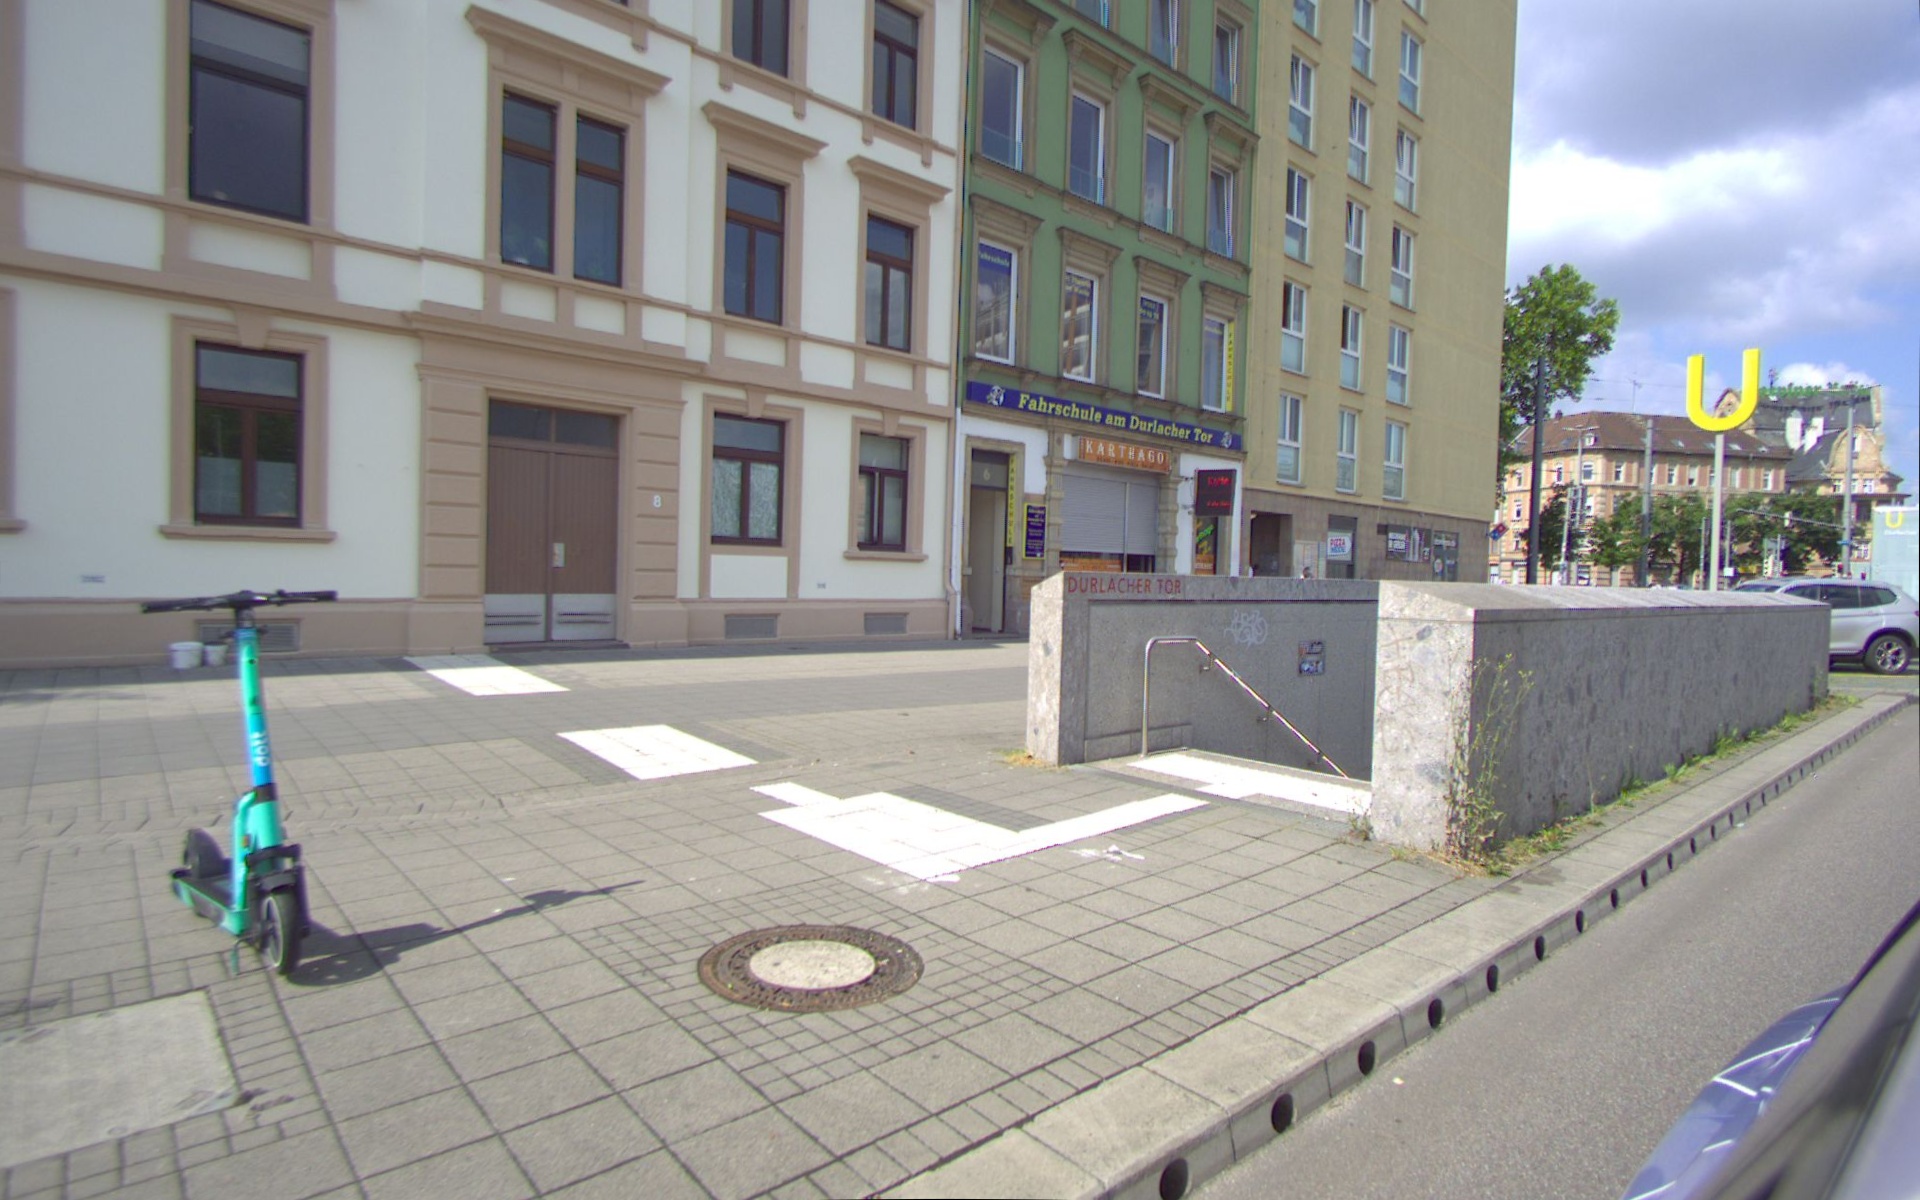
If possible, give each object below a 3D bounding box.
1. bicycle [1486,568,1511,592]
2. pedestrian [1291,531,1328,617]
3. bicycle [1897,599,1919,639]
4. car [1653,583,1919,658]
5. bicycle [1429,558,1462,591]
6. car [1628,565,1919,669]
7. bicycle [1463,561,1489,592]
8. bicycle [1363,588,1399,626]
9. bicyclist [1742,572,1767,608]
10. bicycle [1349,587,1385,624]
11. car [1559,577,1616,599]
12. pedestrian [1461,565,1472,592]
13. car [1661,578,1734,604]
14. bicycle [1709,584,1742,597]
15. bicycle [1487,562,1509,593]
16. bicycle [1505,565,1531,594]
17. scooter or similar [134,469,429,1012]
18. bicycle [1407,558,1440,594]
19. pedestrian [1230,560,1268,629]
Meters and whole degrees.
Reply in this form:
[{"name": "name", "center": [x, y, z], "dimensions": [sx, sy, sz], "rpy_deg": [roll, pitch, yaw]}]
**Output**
[{"name": "bicycle", "center": [17.634, -0.638, 33.107], "dimensions": [0.292, 0.747, 1.429], "rpy_deg": [3, 2, 45]}, {"name": "pedestrian", "center": [8.418, -0.632, 24.374], "dimensions": [0.452, 2.039, 0.603], "rpy_deg": [3, 0, -41]}, {"name": "bicycle", "center": [27.333, 0.560, 27.900], "dimensions": [0.533, 1.120, 2.104], "rpy_deg": [3, 0, -26]}, {"name": "car", "center": [17.449, 0.426, 21.070], "dimensions": [4.524, 1.479, 1.933], "rpy_deg": [0, -1, 9]}, {"name": "bicycle", "center": [14.029, -0.726, 29.249], "dimensions": [1.439, 0.934, 0.293], "rpy_deg": [0, 2, -41]}, {"name": "car", "center": [15.277, 0.269, 18.546], "dimensions": [4.517, 1.667, 2.059], "rpy_deg": [2, 2, 7]}, {"name": "bicycle", "center": [15.923, -0.725, 31.217], "dimensions": [0.292, 0.934, 1.430], "rpy_deg": [3, 2, 43]}, {"name": "bicycle", "center": [10.882, 0.188, 26.164], "dimensions": [1.440, 0.934, 0.292], "rpy_deg": [1, 1, -44]}, {"name": "bicyclist", "center": [33.039, -0.430, 42.103], "dimensions": [0.730, 1.455, 0.655], "rpy_deg": [0, 2, -41]}, {"name": "bicycle", "center": [10.731, 0.154, 26.641], "dimensions": [1.440, 0.934, 0.292], "rpy_deg": [2, 0, -44]}, {"name": "car", "center": [46.200, -0.901, 74.571], "dimensions": [1.657, 1.488, 3.660], "rpy_deg": [3, 0, -5]}, {"name": "pedestrian", "center": [58.927, -2.516, 117.749], "dimensions": [0.655, 3.160, 0.888], "rpy_deg": [3, 0, -1]}, {"name": "car", "center": [50.109, -0.665, 68.839], "dimensions": [1.960, 1.593, 3.742], "rpy_deg": [2, 2, -5]}, {"name": "bicycle", "center": [71.530, -0.897, 94.579], "dimensions": [0.746, 1.180, 2.690], "rpy_deg": [1, 2, -8]}, {"name": "bicycle", "center": [16.726, -0.689, 31.438], "dimensions": [0.292, 0.934, 1.589], "rpy_deg": [3, 1, 39]}, {"name": "bicycle", "center": [17.819, -0.669, 32.300], "dimensions": [1.440, 0.894, 0.292], "rpy_deg": [-1, 3, -44]}, {"name": "scooter or similar", "center": [-2.730, 0.374, 4.065], "dimensions": [0.684, 1.565, 2.332], "rpy_deg": [3, 0, -35]}, {"name": "bicycle", "center": [12.814, -0.652, 27.944], "dimensions": [1.440, 0.934, 0.292], "rpy_deg": [2, 0, -44]}, {"name": "pedestrian", "center": [7.151, -0.133, 25.041], "dimensions": [0.452, 1.638, 0.603], "rpy_deg": [3, 3, -41]}]
